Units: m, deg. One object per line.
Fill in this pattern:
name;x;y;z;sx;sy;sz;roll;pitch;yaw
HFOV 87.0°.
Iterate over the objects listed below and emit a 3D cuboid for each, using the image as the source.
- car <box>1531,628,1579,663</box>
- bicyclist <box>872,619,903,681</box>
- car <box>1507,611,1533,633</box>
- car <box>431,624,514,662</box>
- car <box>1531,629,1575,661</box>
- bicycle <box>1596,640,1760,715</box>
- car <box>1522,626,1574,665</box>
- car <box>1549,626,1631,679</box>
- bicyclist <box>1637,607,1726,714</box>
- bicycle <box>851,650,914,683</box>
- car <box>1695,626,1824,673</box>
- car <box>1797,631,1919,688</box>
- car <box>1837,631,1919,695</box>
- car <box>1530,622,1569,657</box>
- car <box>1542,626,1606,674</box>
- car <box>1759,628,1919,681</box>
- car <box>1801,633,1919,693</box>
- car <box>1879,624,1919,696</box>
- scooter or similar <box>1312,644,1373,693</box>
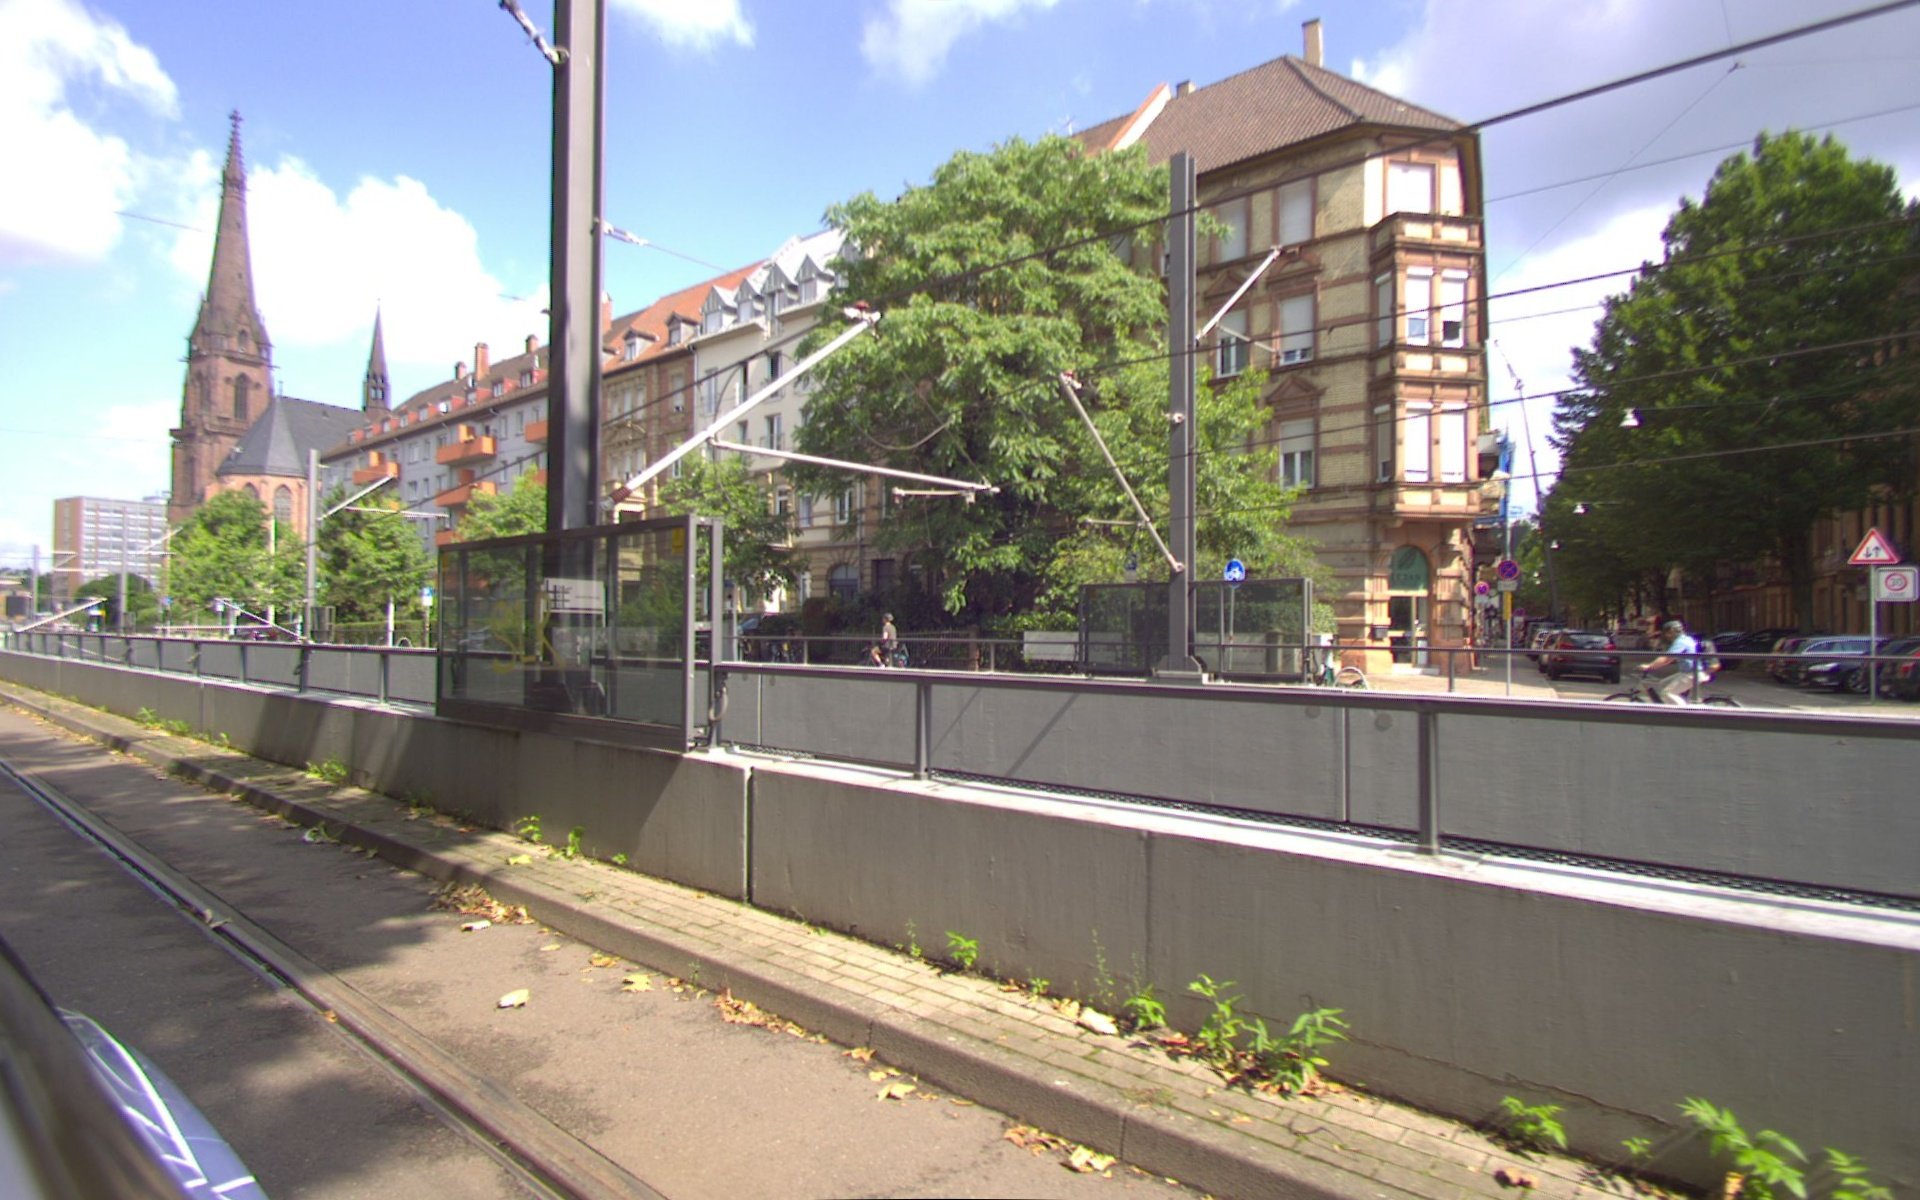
car;29.339;2.212;49.972;1.920;1.630;3.959;-1;-2;30
bicyclist;-1.850;1.268;25.817;0.607;1.556;0.498;-1;-4;41
car;50.216;2.000;90.711;1.921;1.956;3.958;-1;-2;30
car;-22.340;1.941;46.339;4.112;1.650;1.973;-1;-2;41
car;31.559;2.361;53.910;1.920;1.630;3.959;-1;-2;30
bicycle;10.461;1.108;14.786;1.897;1.003;0.718;-1;-4;41
car;26.098;1.988;44.948;1.920;1.630;3.959;-1;-2;30
car;20.011;1.637;32.299;1.917;1.547;3.962;0;-2;28
bicyclist;10.516;0.867;14.754;0.977;1.490;0.731;-1;-4;41
bicycle;-1.993;1.701;25.942;1.816;0.774;0.491;-1;-2;41
car;30.485;1.858;38.729;3.771;1.714;1.662;-1;-2;37
car;25.635;1.617;28.012;3.501;1.497;1.667;-1;-2;29
car;23.347;1.489;24.033;3.500;1.503;1.667;-1;-2;29
car;34.377;2.266;59.067;1.920;1.956;3.959;-1;-2;30
car;22.643;1.810;37.444;1.920;1.687;3.959;-1;-2;30
car;27.178;1.681;30.963;3.985;1.507;1.979;-3;-4;31
car;24.474;1.629;26.439;3.498;1.503;1.668;-1;-2;27
car;22.610;1.292;21.583;4.120;1.532;1.667;-1;-2;29
scooter or similar;9.034;1.603;23.933;1.287;1.090;0.373;-1;0;41
